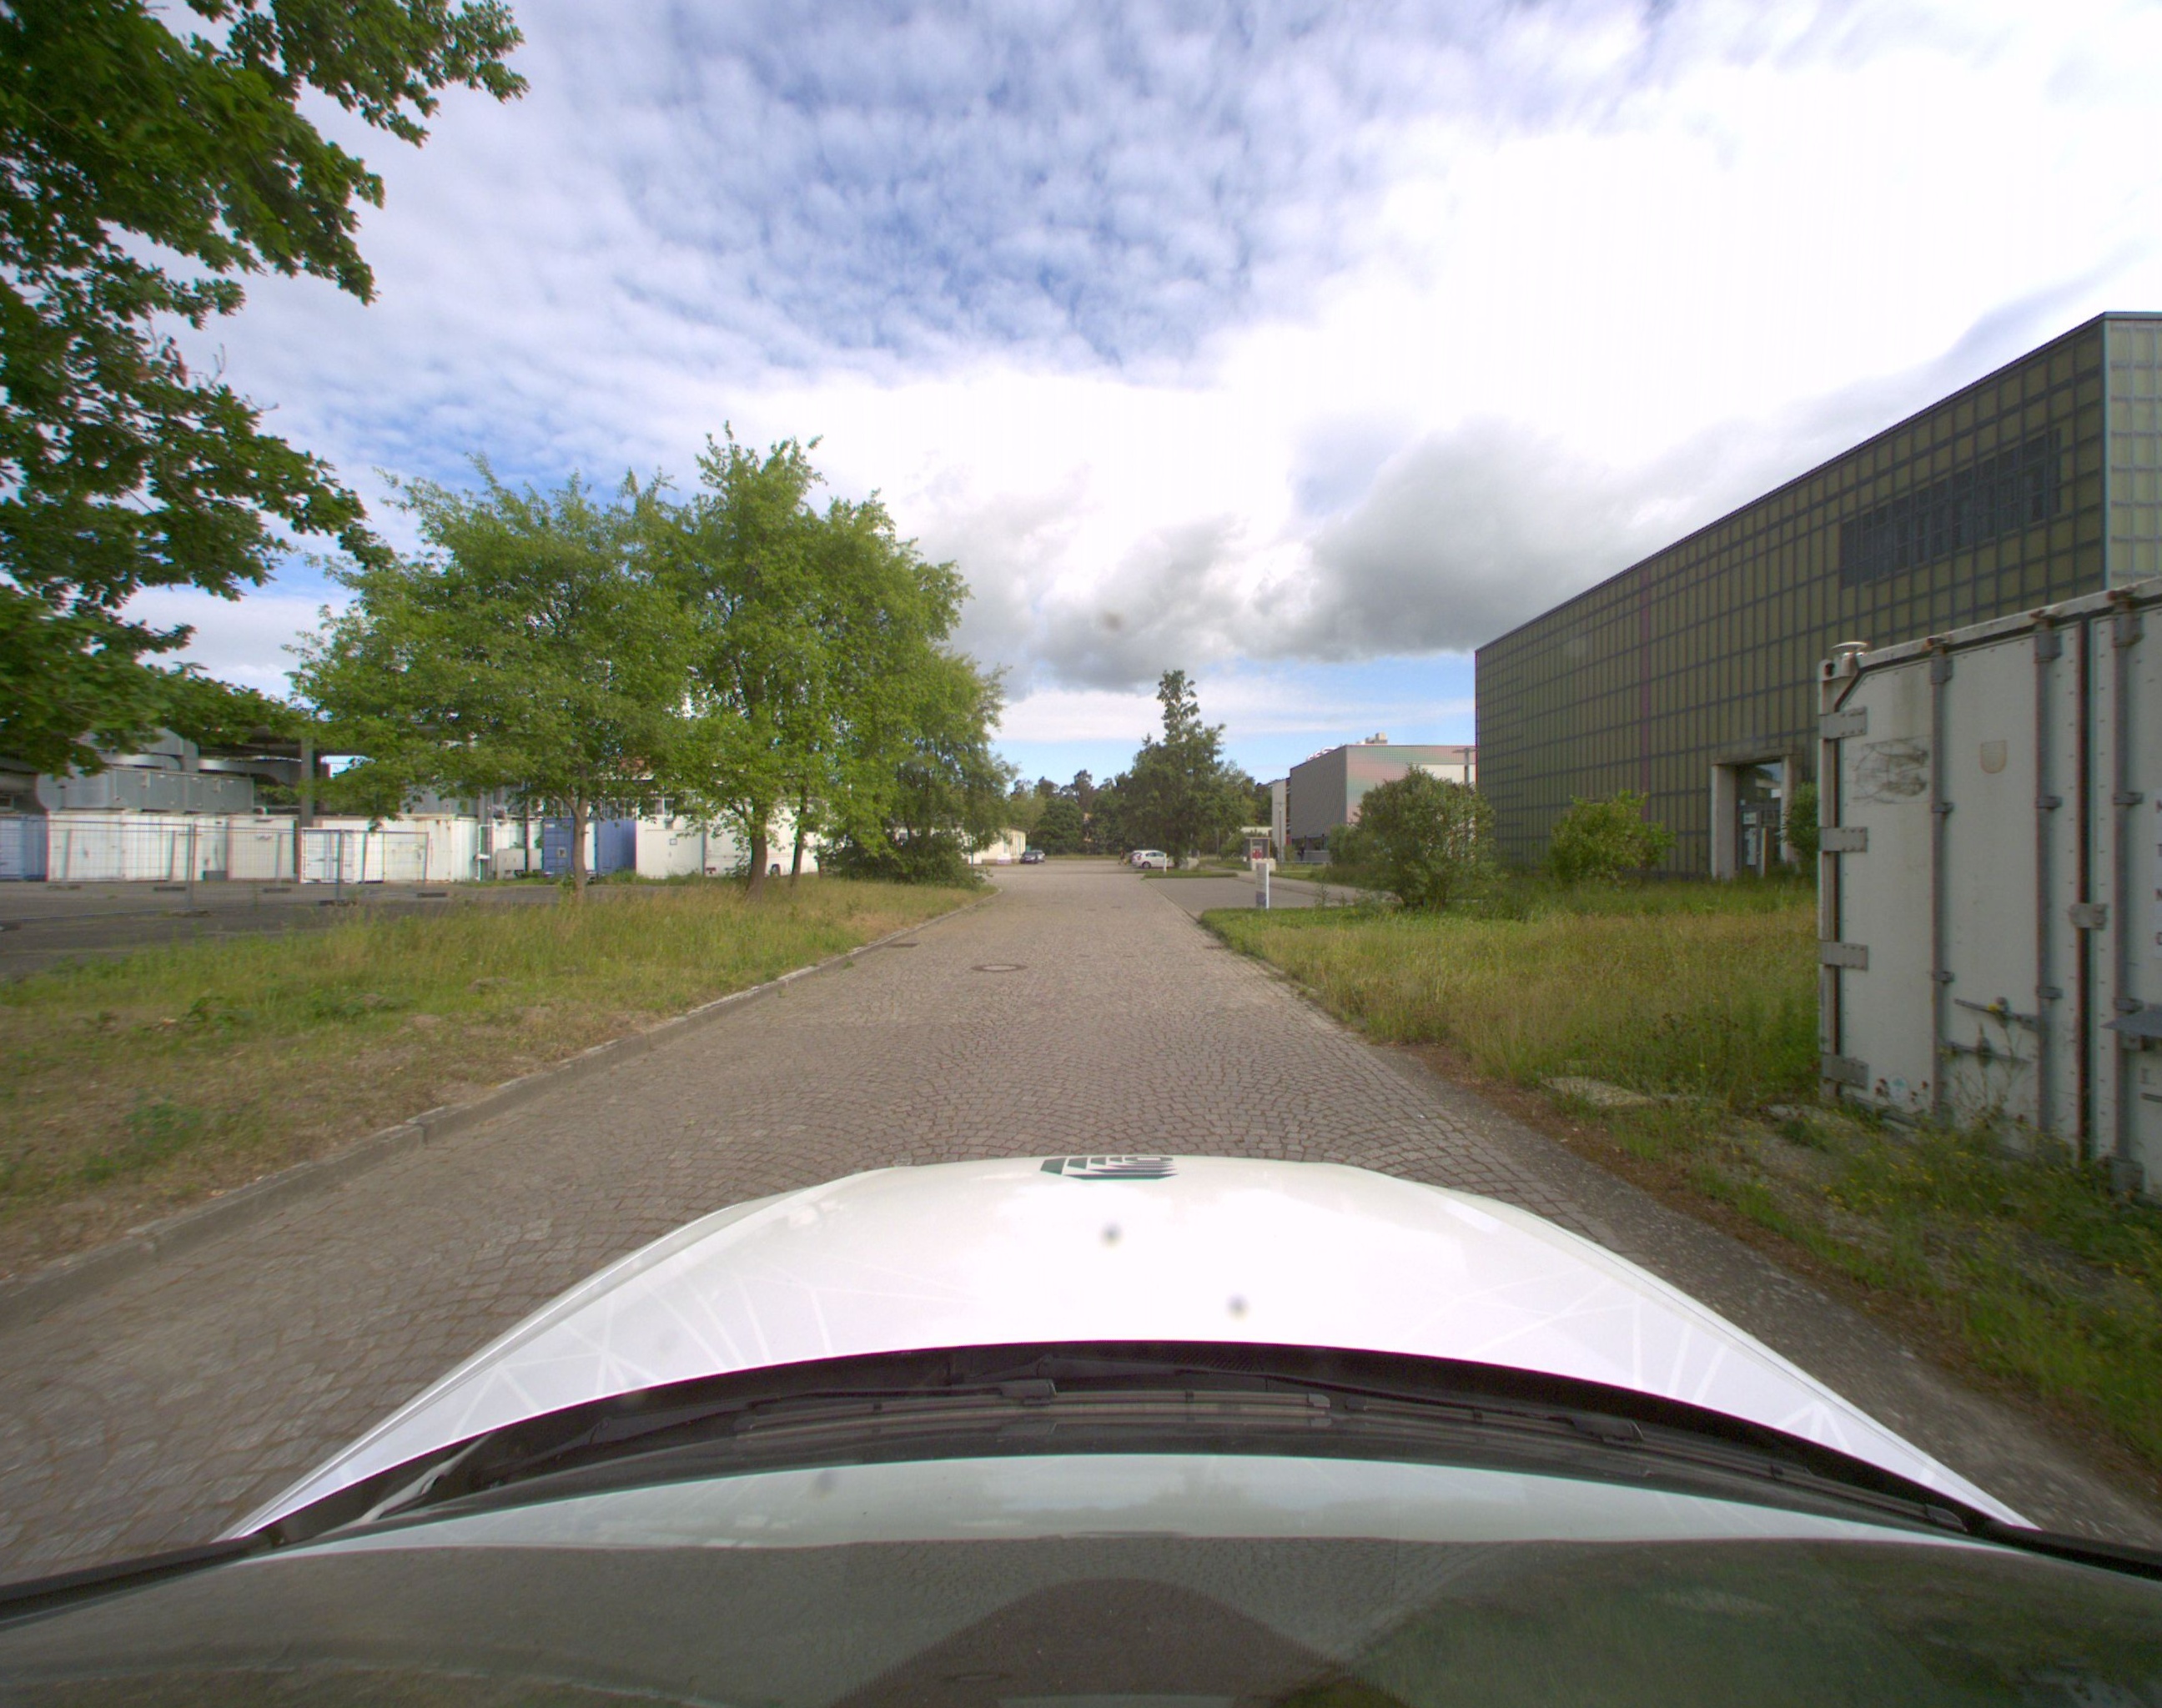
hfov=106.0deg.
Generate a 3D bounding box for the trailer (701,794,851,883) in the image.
[{"bbox_3d":[-14.354,-0.673,39.619,2.645,3.705,10.732,0,0,4],"label":"trailer"}]

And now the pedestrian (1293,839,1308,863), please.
[{"bbox_3d":[18.003,-0.234,66.834,0.922,1.936,0.847,0,0,-29],"label":"pedestrian"}]

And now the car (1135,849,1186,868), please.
[{"bbox_3d":[6.460,0.361,66.589,3.972,1.455,2.001,0,-1,1],"label":"car"}]

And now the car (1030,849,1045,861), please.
[{"bbox_3d":[-5.358,0.169,100.936,1.744,1.454,3.998,0,0,-1],"label":"car"}]

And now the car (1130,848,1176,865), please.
[{"bbox_3d":[6.341,0.247,71.801,3.972,1.455,1.770,0,0,1],"label":"car"}]

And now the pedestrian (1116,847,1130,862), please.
[{"bbox_3d":[4.325,0.036,83.831,0.948,1.568,0.959,0,0,-42],"label":"pedestrian"}]

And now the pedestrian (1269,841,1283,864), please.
[{"bbox_3d":[17.950,-0.143,75.052,0.919,2.013,1.145,0,0,-5],"label":"pedestrian"}]

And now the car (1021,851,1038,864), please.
[{"bbox_3d":[-5.706,0.371,90.706,1.744,1.364,3.998,0,0,-1],"label":"car"}]

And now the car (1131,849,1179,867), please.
[{"bbox_3d":[6.215,0.308,68.761,3.972,1.455,1.698,0,0,1],"label":"car"}]

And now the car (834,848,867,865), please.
[{"bbox_3d":[-22.341,0.247,79.003,1.893,1.575,4.003,0,0,3],"label":"car"}]

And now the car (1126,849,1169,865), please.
[{"bbox_3d":[6.274,0.235,76.707,3.972,1.455,1.770,0,0,1],"label":"car"}]
